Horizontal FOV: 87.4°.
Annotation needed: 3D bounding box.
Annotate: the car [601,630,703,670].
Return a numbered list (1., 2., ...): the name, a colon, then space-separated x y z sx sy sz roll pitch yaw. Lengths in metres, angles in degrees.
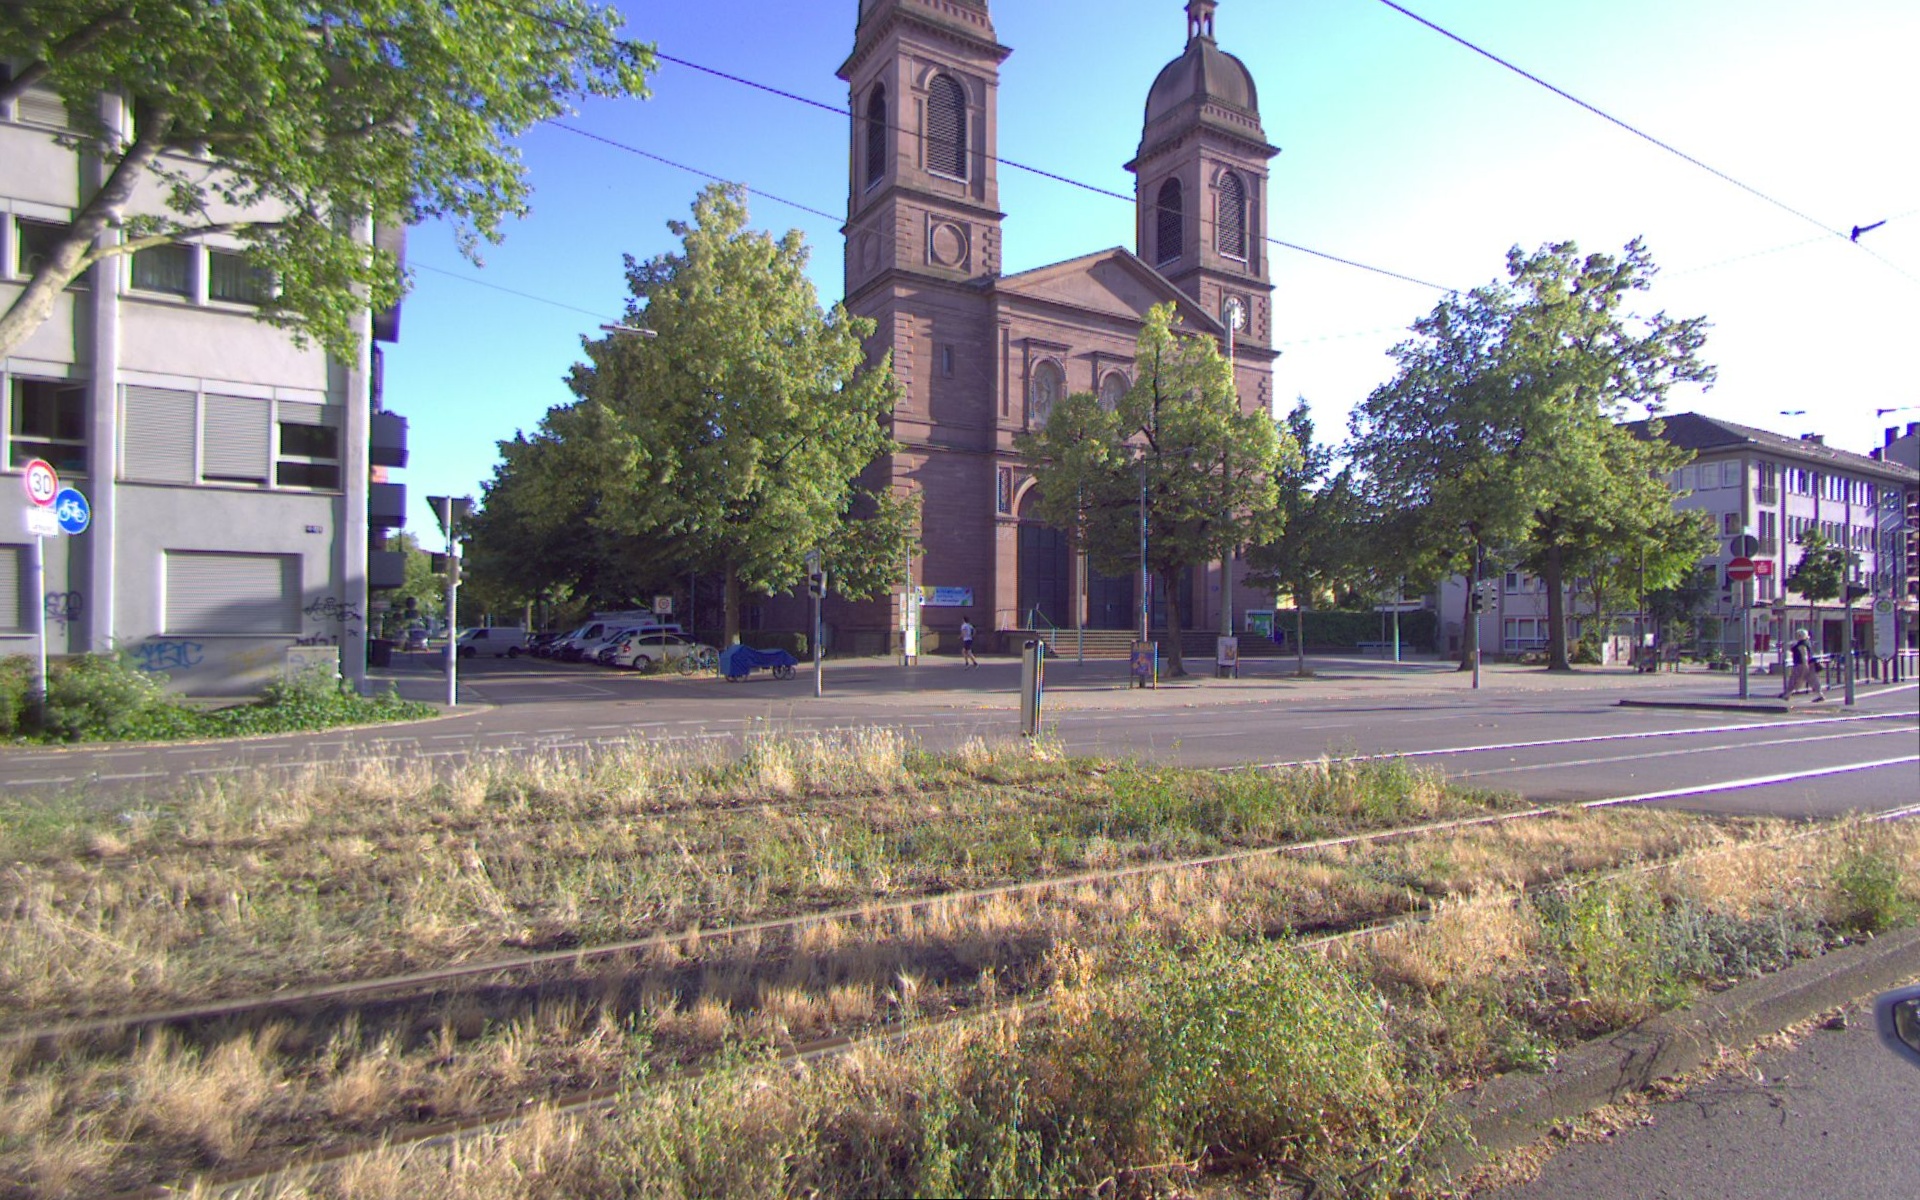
1. car: -13.480 2.166 43.958 3.953 1.639 1.876 1 -2 -30

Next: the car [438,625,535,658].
1. car: -30.518 2.671 64.902 1.968 2.040 5.406 -1 -2 36

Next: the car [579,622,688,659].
1. car: -15.626 1.941 48.169 4.655 1.684 1.984 1 -2 -30

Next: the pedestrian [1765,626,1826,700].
1. pedestrian: 20.593 1.542 24.755 0.822 1.783 0.915 2 -2 -29

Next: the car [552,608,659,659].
1. car: -18.604 1.767 52.798 5.054 2.551 1.984 1 -2 -30

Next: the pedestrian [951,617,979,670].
1. pedestrian: 0.179 1.495 34.396 0.684 1.789 0.733 1 -1 -31

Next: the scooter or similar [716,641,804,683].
1. scooter or similar: -6.110 1.876 30.704 2.419 1.141 1.088 -1 0 -30

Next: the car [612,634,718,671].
1. car: -12.248 2.133 41.708 3.953 1.416 1.802 0 -1 -30

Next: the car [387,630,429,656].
1. car: -46.928 3.623 85.301 1.985 2.040 5.360 2 -2 -41
